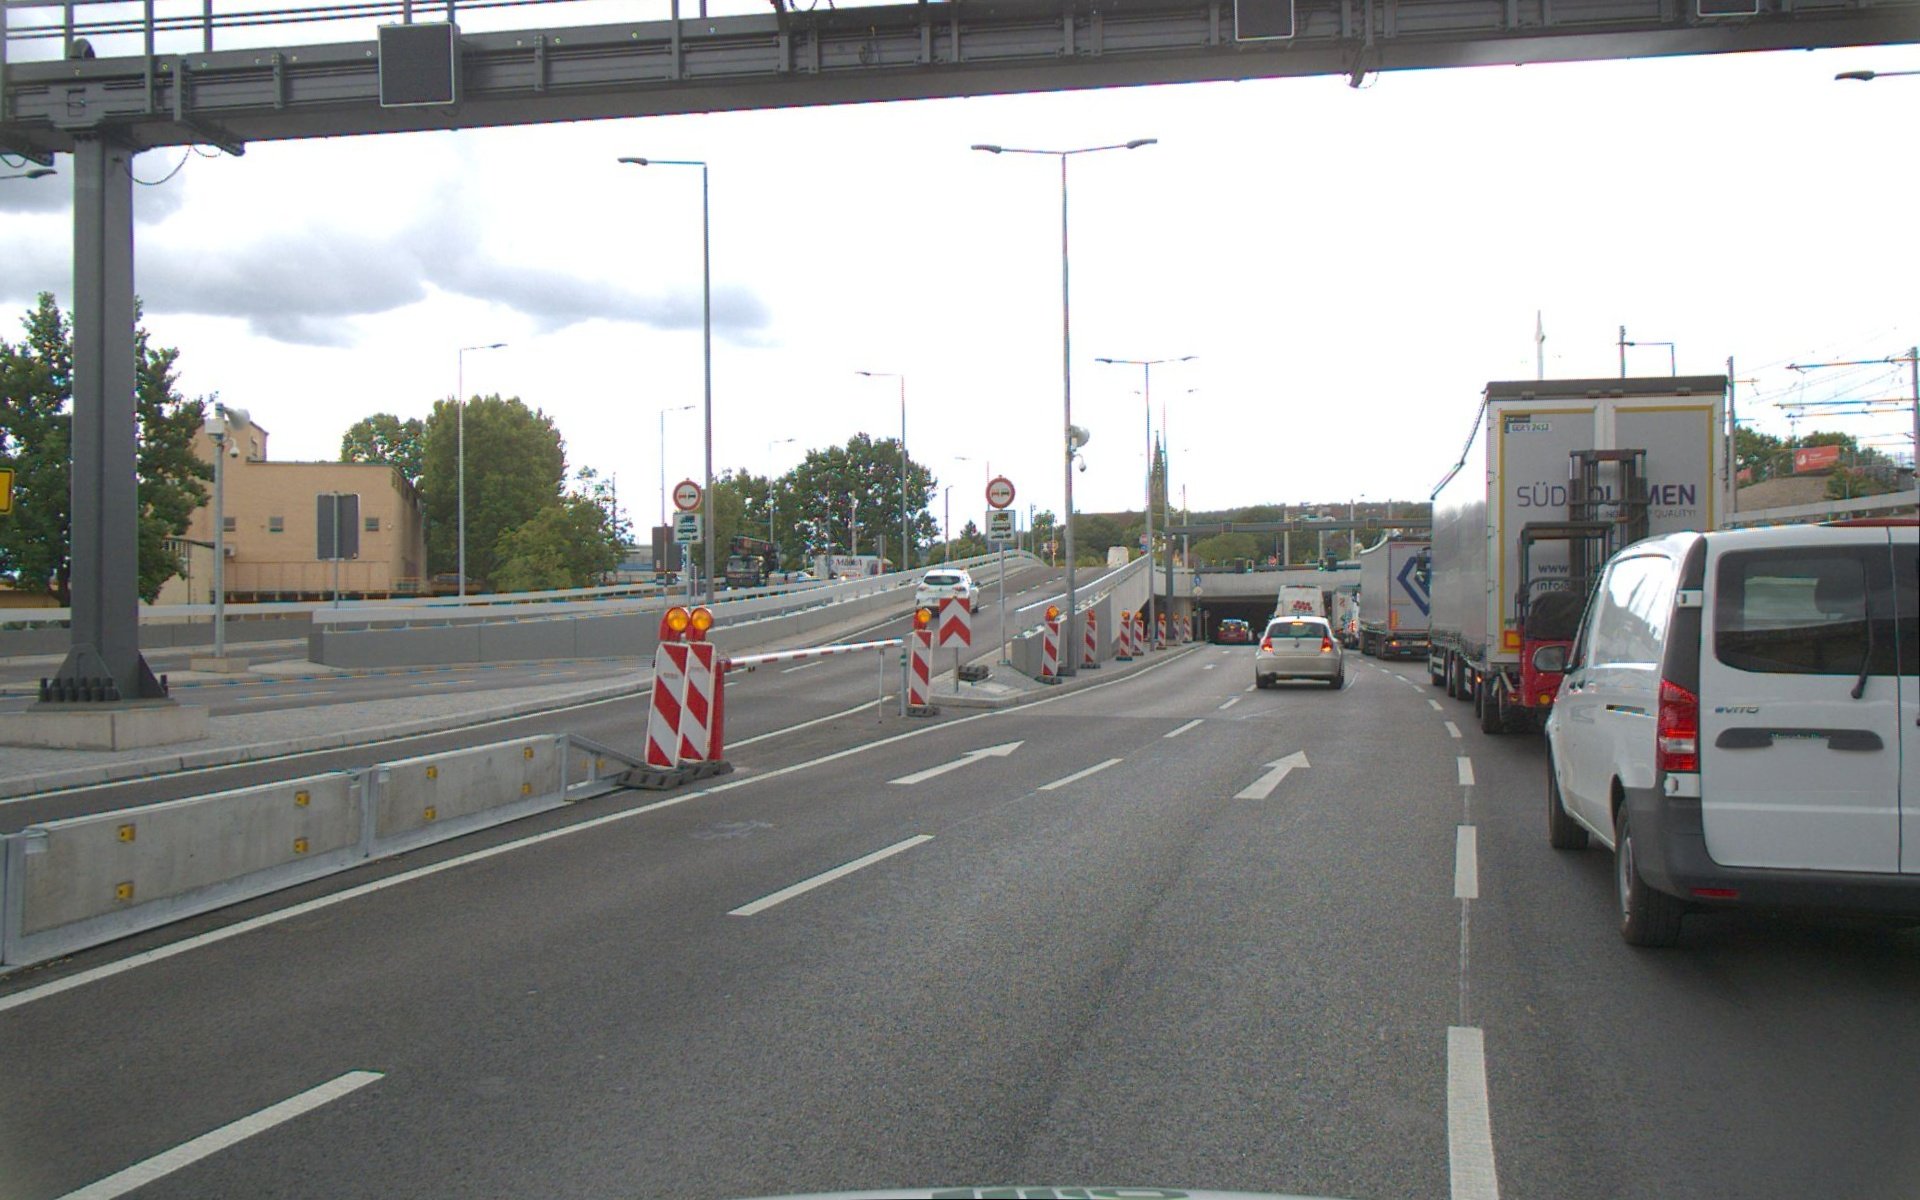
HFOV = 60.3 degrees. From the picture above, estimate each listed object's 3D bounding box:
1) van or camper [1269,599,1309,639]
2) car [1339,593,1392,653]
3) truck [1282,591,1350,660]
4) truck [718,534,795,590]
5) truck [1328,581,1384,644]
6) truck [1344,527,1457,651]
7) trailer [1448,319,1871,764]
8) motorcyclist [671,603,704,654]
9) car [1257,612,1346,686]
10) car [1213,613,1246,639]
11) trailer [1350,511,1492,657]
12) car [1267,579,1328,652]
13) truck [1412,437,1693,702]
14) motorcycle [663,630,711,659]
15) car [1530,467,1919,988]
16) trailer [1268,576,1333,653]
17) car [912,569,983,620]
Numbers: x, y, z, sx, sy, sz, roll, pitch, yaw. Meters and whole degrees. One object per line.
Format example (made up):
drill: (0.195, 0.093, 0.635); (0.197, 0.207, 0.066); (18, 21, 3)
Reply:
van or camper: (17.353, 1.035, 87.382); (1.951, 1.878, 5.511); (0, -3, 10)
car: (19.870, 1.114, 81.321); (2.031, 2.822, 7.332); (1, 0, 10)
truck: (11.563, 0.853, 53.971); (1.951, 2.066, 3.836); (3, -1, 10)
truck: (-13.254, -2.550, 108.840); (2.675, 3.448, 10.628); (2, 2, 6)
truck: (21.659, 0.759, 90.790); (2.593, 3.241, 7.431); (-1, -2, 11)
truck: (17.619, -0.391, 66.702); (3.723, 4.713, 7.448); (1, -1, 10)
trailer: (8.337, -0.505, 21.453); (3.645, 4.214, 10.990); (0, -1, 16)
motorcyclist: (-8.953, 0.933, 54.414); (0.650, 1.634, 1.104); (0, -1, 14)
car: (7.167, 0.998, 34.622); (1.679, 1.422, 4.350); (1, -1, 12)
car: (16.630, 1.629, 102.201); (1.625, 1.514, 3.568); (-1, -2, 4)
trailer: (16.407, -0.468, 59.811); (3.723, 4.712, 12.123); (1, -1, 10)
car: (13.449, 0.657, 66.218); (2.014, 2.674, 5.947); (3, -1, 9)
truck: (10.993, -0.440, 32.038); (3.645, 4.214, 10.992); (0, -1, 12)
motorcycle: (-8.960, 1.458, 54.388); (0.650, 0.933, 2.396); (0, -1, 14)
car: (4.388, 0.531, 8.948); (1.951, 2.025, 5.203); (1, -1, 13)
trailer: (12.822, 0.569, 62.459); (2.059, 2.685, 4.813); (3, -1, 9)
car: (-0.356, -0.148, 52.993); (1.707, 1.457, 3.778); (3, -1, 8)
